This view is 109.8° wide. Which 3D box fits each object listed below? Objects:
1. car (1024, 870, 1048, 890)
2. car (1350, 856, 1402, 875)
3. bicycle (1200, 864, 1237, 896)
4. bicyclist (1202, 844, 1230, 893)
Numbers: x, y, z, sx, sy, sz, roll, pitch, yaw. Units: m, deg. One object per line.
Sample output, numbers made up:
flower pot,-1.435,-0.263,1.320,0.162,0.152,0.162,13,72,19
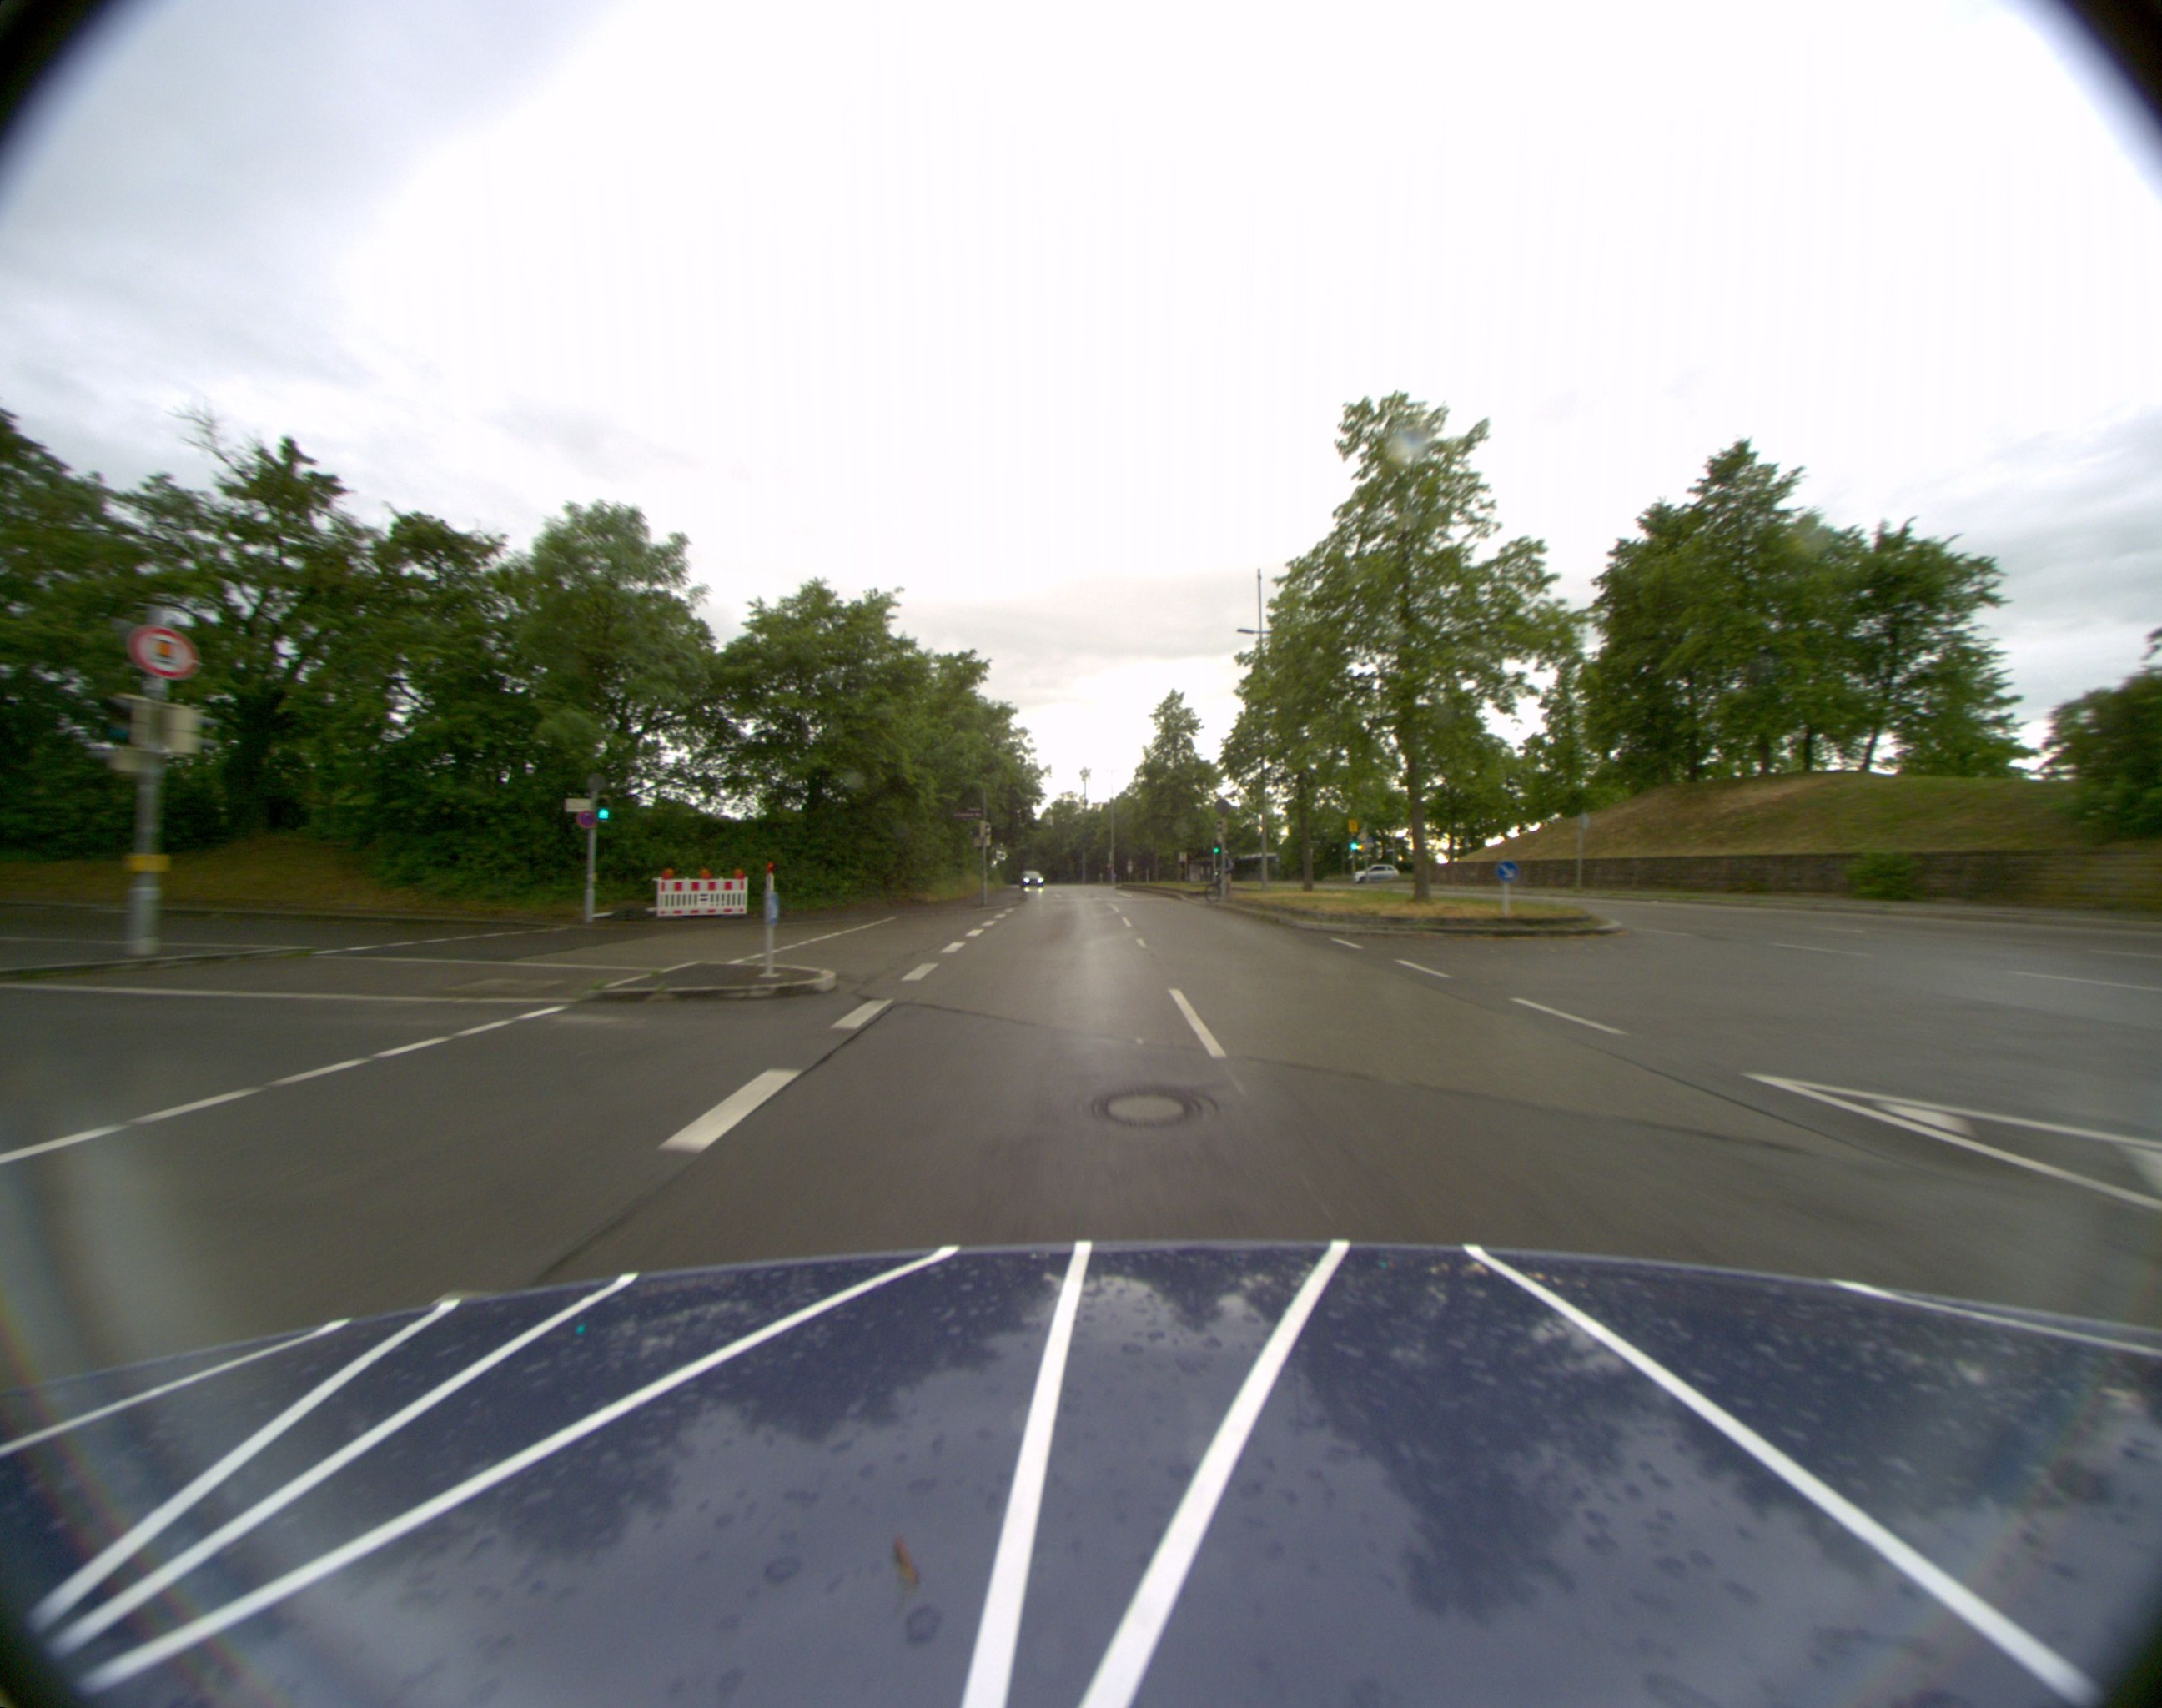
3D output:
car,-3.959,2.303,66.448,1.999,1.576,4.000,2,-3,-5
car,23.917,0.915,61.691,3.692,1.469,1.763,-1,0,9
bicycle,5.157,0.951,28.399,0.552,1.136,2.144,-1,0,33
bicyclist,4.979,0.528,28.108,0.723,1.742,0.803,2,3,33
